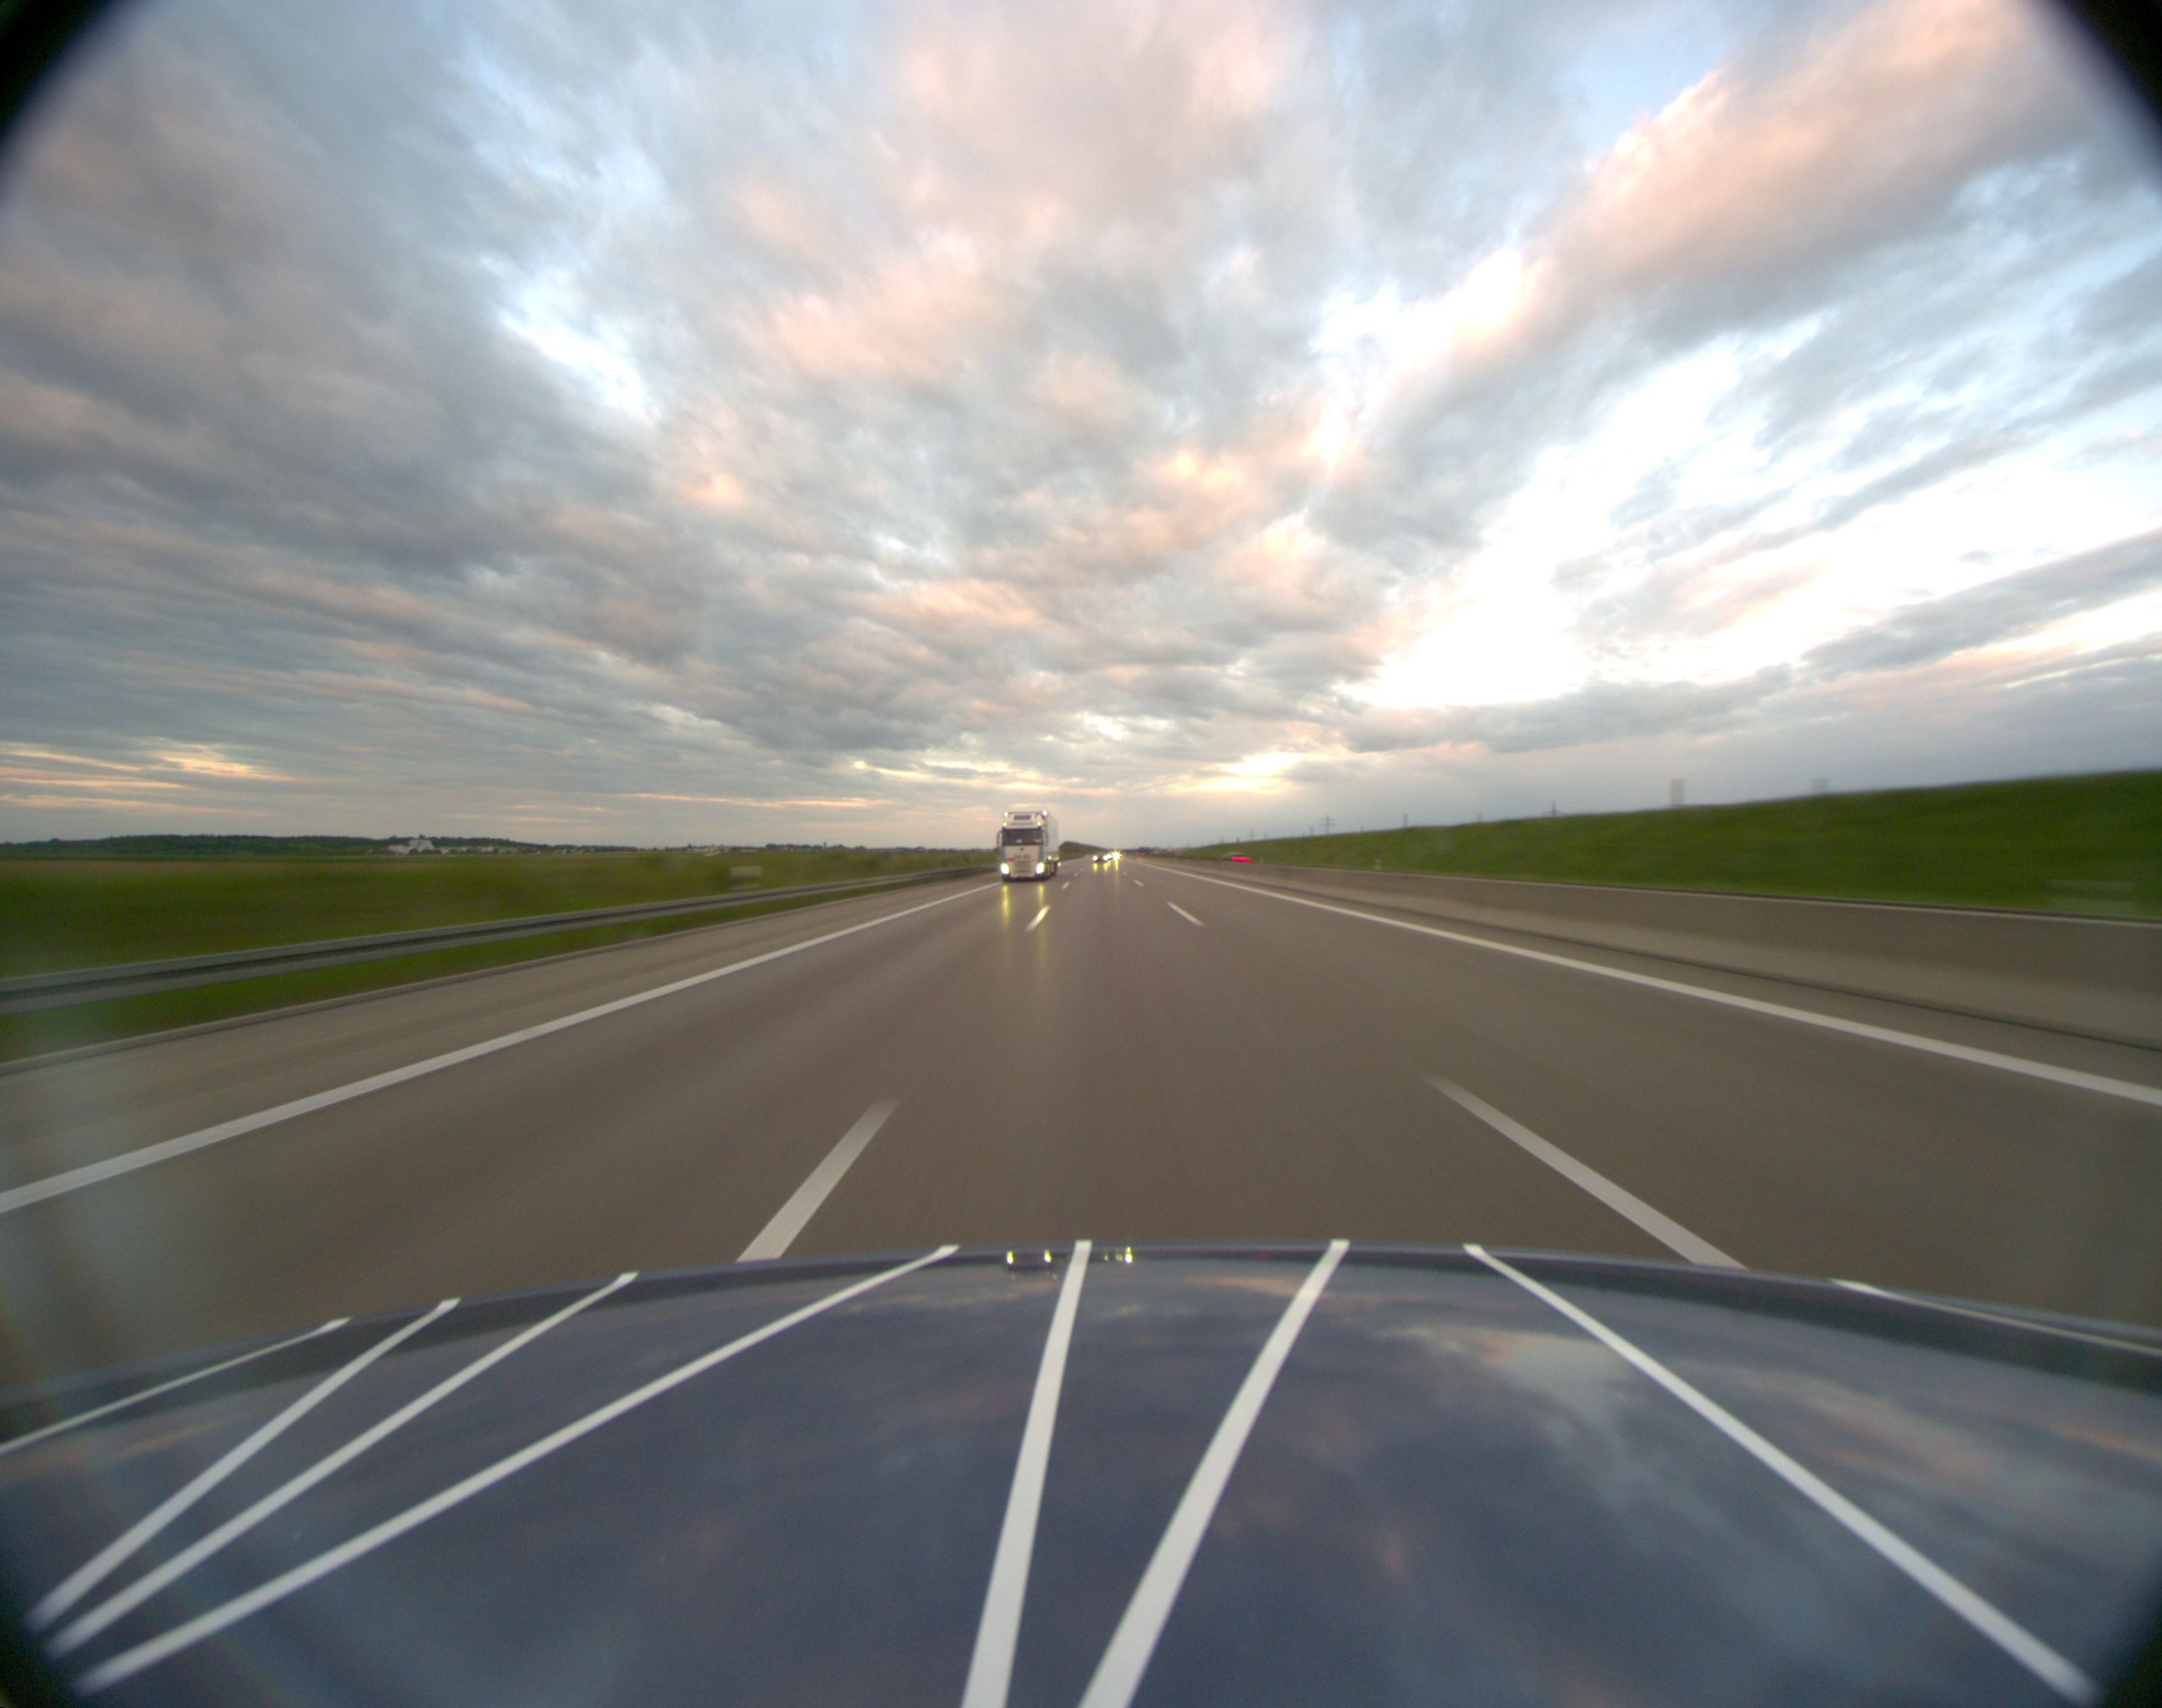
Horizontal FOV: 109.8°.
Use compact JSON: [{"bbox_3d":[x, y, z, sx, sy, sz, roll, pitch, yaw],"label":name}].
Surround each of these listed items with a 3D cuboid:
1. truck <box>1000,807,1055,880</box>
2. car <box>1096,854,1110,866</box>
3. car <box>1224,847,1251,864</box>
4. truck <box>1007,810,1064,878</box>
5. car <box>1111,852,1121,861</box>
[{"bbox_3d":[-3.033,-0.587,44.919,2.596,4.000,5.859,-1,0,2],"label":"truck"},{"bbox_3d":[3.283,0.835,113.565,1.998,1.652,4.851,-2,1,1],"label":"car"},{"bbox_3d":[13.520,0.117,65.808,1.581,1.377,3.773,0,0,2],"label":"car"},{"bbox_3d":[-2.845,-0.616,51.518,2.596,3.999,12.985,-1,0,2],"label":"truck"},{"bbox_3d":[7.093,0.507,154.931,1.998,1.652,4.000,-2,1,1],"label":"car"}]
